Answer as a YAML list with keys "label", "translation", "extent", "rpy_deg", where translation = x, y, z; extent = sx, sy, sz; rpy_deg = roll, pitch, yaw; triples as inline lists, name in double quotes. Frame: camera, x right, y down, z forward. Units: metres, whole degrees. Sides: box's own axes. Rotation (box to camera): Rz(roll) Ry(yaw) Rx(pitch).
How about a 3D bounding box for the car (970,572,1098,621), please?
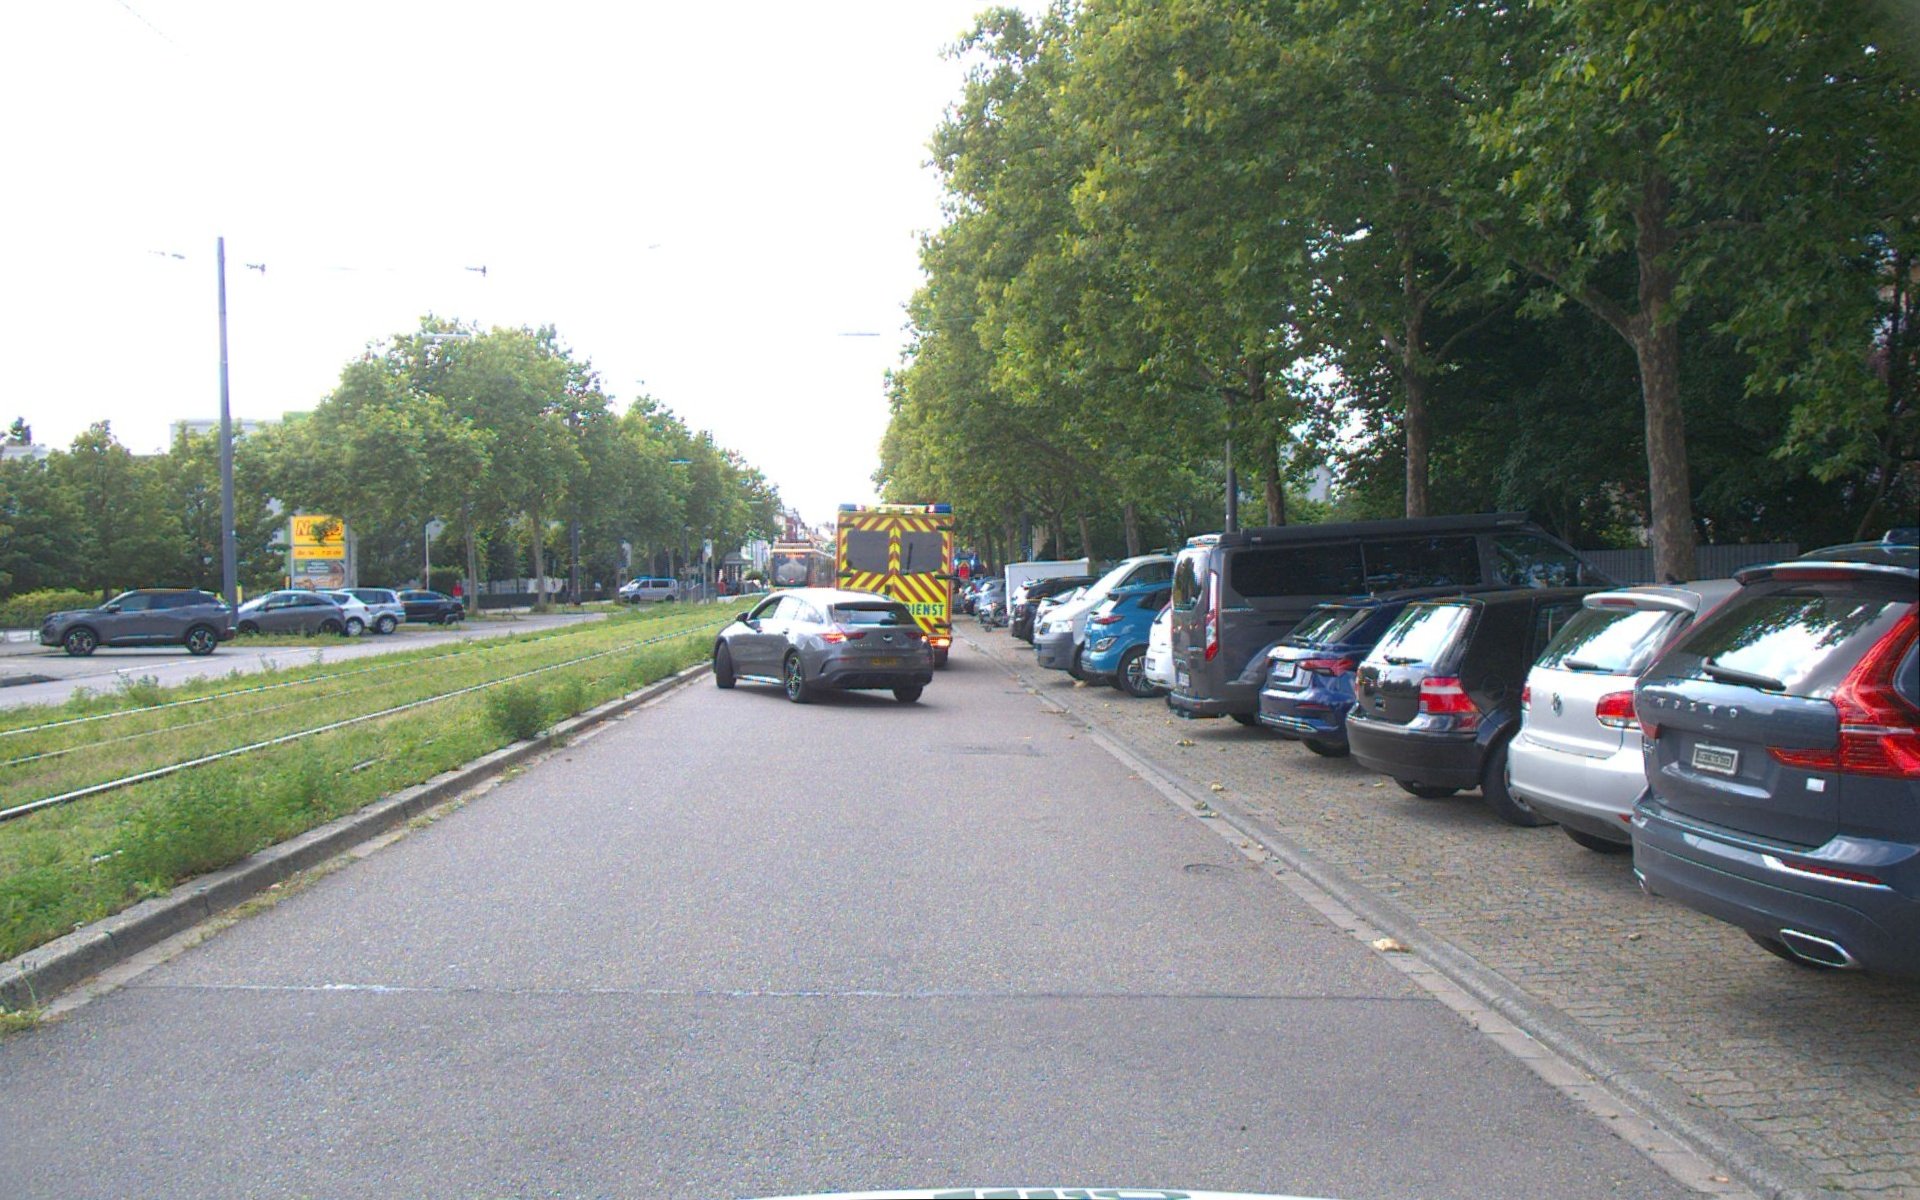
- label: "car"
  translation: [2.696, -0.146, 60.881]
  extent: [4.458, 1.636, 1.853]
  rpy_deg: [-2, 0, -7]

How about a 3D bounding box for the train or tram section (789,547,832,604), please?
- label: "train or tram section"
  translation: [-9.976, -1.580, 110.990]
  extent: [2.462, 3.646, 7.441]
  rpy_deg: [-2, 0, -3]

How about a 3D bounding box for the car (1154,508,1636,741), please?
- label: "car"
  translation: [4.400, 0.223, 17.169]
  extent: [4.455, 2.160, 1.855]
  rpy_deg: [-2, 0, -3]

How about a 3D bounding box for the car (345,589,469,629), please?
- label: "car"
  translation: [-21.445, 0.323, 64.211]
  extent: [4.199, 1.508, 1.854]
  rpy_deg: [0, 0, -42]

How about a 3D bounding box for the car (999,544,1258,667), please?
- label: "car"
  translation: [3.079, 0.087, 30.693]
  extent: [4.458, 2.079, 1.853]
  rpy_deg: [-2, 0, -7]

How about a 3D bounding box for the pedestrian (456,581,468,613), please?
- label: "pedestrian"
  translation: [-26.743, -0.171, 88.798]
  extent: [0.457, 1.706, 0.603]
  rpy_deg: [-1, 0, -4]

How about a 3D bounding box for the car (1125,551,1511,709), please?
- label: "car"
  translation: [4.476, 0.354, 21.086]
  extent: [4.455, 1.797, 1.855]
  rpy_deg: [-2, 0, -3]

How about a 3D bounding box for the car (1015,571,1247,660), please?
- label: "car"
  translation: [3.492, 0.299, 34.186]
  extent: [4.458, 1.636, 1.853]
  rpy_deg: [-2, 0, -7]

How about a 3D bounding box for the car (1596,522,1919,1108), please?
- label: "car"
  translation: [4.661, 0.546, 5.633]
  extent: [4.292, 1.668, 1.756]
  rpy_deg: [-2, 0, -1]

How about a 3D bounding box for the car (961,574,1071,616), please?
- label: "car"
  translation: [2.356, -0.238, 70.722]
  extent: [4.458, 1.636, 1.853]
  rpy_deg: [-2, 0, -7]

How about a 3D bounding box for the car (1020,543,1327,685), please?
- label: "car"
  translation: [3.313, 0.195, 26.106]
  extent: [4.458, 2.035, 1.853]
  rpy_deg: [-2, 0, -7]

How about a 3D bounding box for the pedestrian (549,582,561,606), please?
- label: "pedestrian"
  translation: [-27.586, -0.410, 112.711]
  extent: [0.619, 1.578, 0.622]
  rpy_deg: [-1, 0, 0]

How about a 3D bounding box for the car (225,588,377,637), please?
- label: "car"
  translation: [-21.080, 0.391, 52.996]
  extent: [4.192, 1.508, 1.857]
  rpy_deg: [0, 0, -39]

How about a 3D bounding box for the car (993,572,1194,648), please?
- label: "car"
  translation: [3.138, 0.225, 39.330]
  extent: [4.458, 1.636, 1.853]
  rpy_deg: [-2, 0, -7]

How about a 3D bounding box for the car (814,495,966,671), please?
- label: "car"
  translation: [-1.280, -0.323, 32.526]
  extent: [2.588, 3.018, 6.298]
  rpy_deg: [2, 0, -1]

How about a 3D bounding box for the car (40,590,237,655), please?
- label: "car"
  translation: [-19.806, 0.519, 40.000]
  extent: [4.172, 1.508, 1.867]
  rpy_deg: [0, 0, -28]

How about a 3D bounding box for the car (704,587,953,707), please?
- label: "car"
  translation: [-1.910, 0.573, 22.572]
  extent: [1.741, 1.409, 4.426]
  rpy_deg: [1, 0, -28]

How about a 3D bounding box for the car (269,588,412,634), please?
- label: "car"
  translation: [-20.955, 0.364, 56.023]
  extent: [4.192, 1.508, 1.857]
  rpy_deg: [0, 0, -39]

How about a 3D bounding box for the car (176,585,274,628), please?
- label: "car"
  translation: [-32.495, 0.283, 73.091]
  extent: [3.912, 1.780, 1.997]
  rpy_deg: [2, 1, 29]

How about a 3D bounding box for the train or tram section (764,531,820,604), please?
- label: "train or tram section"
  translation: [-8.958, -1.661, 88.703]
  extent: [2.462, 3.646, 7.441]
  rpy_deg: [-2, 0, -3]

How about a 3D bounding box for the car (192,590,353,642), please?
- label: "car"
  translation: [-20.794, 0.471, 50.083]
  extent: [4.192, 1.508, 1.857]
  rpy_deg: [0, 0, -39]

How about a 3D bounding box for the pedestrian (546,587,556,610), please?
- label: "pedestrian"
  translation: [-25.738, -0.114, 104.152]
  extent: [0.412, 1.439, 0.467]
  rpy_deg: [-1, 0, 22]

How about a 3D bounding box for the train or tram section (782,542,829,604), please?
- label: "train or tram section"
  translation: [-9.644, -1.608, 103.558]
  extent: [2.462, 3.646, 7.441]
  rpy_deg: [-2, 0, -3]

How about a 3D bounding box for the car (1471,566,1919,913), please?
- label: "car"
  translation: [4.857, 0.593, 8.487]
  extent: [3.887, 1.520, 1.755]
  rpy_deg: [-2, 0, -3]

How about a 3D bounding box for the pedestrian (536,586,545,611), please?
- label: "pedestrian"
  translation: [-25.930, -0.082, 102.266]
  extent: [0.413, 1.499, 0.467]
  rpy_deg: [-1, 0, -7]

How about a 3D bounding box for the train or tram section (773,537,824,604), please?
- label: "train or tram section"
  translation: [-9.305, -1.635, 96.124]
  extent: [2.462, 3.646, 7.441]
  rpy_deg: [-2, 0, -3]

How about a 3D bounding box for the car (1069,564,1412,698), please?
- label: "car"
  translation: [3.934, 0.409, 23.597]
  extent: [4.459, 1.689, 1.853]
  rpy_deg: [-2, 0, -7]

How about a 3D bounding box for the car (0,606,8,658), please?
- label: "car"
  translation: [-31.171, 0.943, 49.830]
  extent: [3.905, 1.592, 1.777]
  rpy_deg: [1, 0, 0]

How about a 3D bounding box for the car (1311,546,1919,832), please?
- label: "car"
  translation: [4.567, 0.511, 11.201]
  extent: [3.897, 1.633, 1.750]
  rpy_deg: [-2, 0, -13]

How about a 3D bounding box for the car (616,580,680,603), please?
- label: "car"
  translation: [-24.236, -0.651, 128.656]
  extent: [4.588, 1.661, 1.855]
  rpy_deg: [-1, 1, -42]

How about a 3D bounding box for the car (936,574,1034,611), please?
- label: "car"
  translation: [1.190, -0.358, 78.910]
  extent: [4.458, 1.636, 1.853]
  rpy_deg: [-2, 0, -7]

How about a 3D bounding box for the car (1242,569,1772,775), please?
- label: "car"
  translation: [4.525, 0.563, 14.055]
  extent: [3.887, 1.520, 1.755]
  rpy_deg: [-2, 0, -3]
